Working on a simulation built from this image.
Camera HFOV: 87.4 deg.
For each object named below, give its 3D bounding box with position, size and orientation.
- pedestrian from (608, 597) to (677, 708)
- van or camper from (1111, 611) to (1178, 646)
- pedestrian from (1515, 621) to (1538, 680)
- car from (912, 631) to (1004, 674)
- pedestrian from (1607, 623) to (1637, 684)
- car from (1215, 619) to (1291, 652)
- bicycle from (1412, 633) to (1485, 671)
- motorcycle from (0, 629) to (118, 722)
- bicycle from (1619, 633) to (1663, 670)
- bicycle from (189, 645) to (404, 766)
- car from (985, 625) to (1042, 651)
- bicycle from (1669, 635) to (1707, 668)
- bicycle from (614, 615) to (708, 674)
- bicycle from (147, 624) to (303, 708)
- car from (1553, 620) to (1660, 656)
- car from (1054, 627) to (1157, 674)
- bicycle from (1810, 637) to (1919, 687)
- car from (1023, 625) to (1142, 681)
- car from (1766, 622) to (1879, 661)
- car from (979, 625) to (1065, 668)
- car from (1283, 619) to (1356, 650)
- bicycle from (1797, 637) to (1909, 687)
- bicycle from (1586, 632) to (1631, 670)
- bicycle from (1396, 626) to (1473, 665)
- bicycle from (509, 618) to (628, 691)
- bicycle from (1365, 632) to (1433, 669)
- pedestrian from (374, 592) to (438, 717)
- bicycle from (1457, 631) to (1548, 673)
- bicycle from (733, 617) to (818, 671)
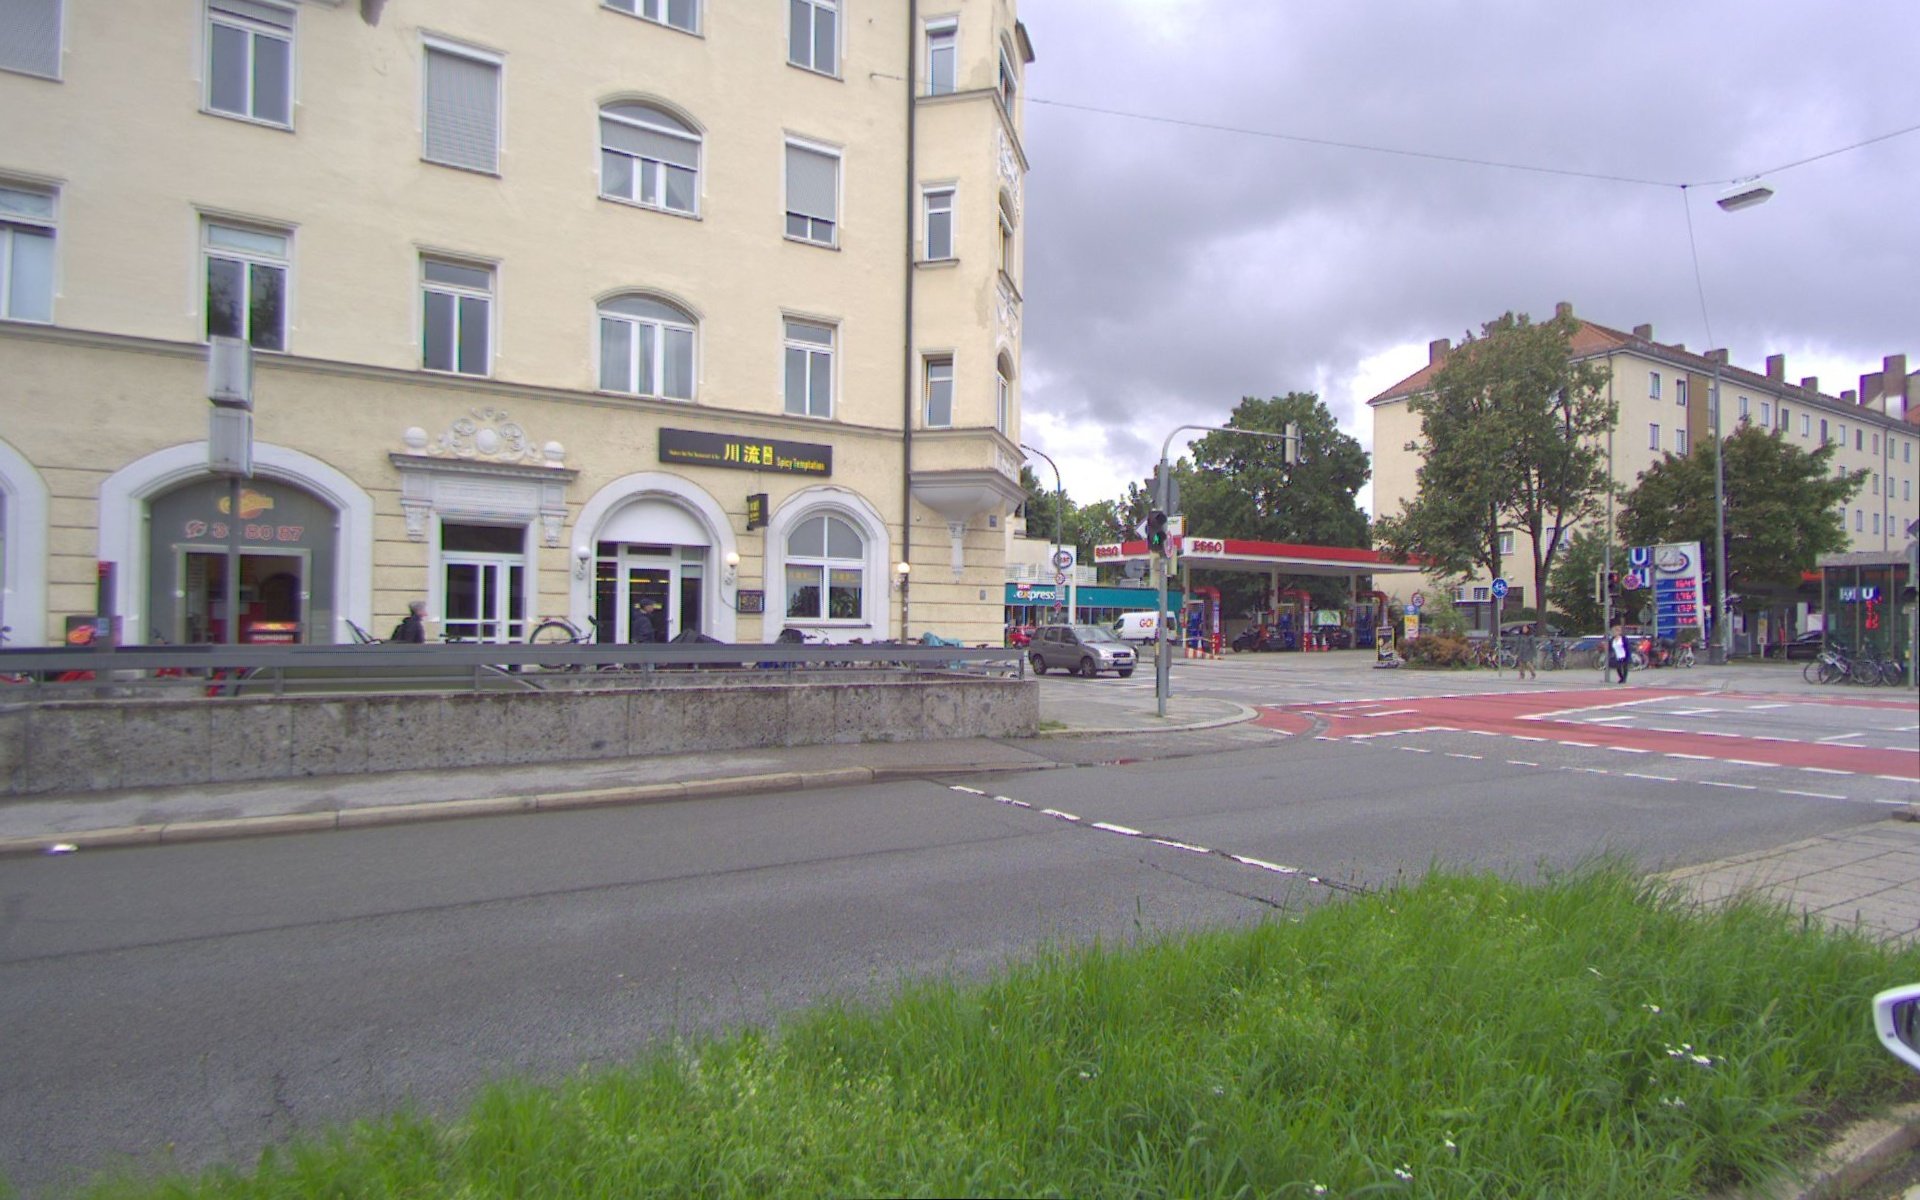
[{"bbox_3d":[-5.081,0.831,16.086,0.934,1.719,0.589,1,-1,-29],"label":"pedestrian"},{"bbox_3d":[12.559,1.927,68.665,1.899,2.354,4.508,1,-1,-34],"label":"van or camper"},{"bbox_3d":[16.733,1.495,29.694,0.581,1.717,0.576,0,-1,29],"label":"pedestrian"},{"bbox_3d":[-0.140,1.884,37.114,1.643,1.430,4.299,1,-1,-27],"label":"car"},{"bbox_3d":[18.816,1.517,28.550,0.571,1.717,0.531,1,-1,-34],"label":"pedestrian"},{"bbox_3d":[16.460,1.960,56.534,1.836,1.808,3.968,1,-1,-30],"label":"car"},{"bbox_3d":[16.916,1.783,34.801,0.760,1.252,2.161,1,-1,-41],"label":"bicycle"},{"bbox_3d":[-12.321,0.975,13.342,1.947,1.137,0.610,1,-1,10],"label":"motorcycle"},{"bbox_3d":[23.449,1.761,34.565,2.167,1.252,0.603,1,-1,-37],"label":"bicycle"},{"bbox_3d":[-6.732,1.033,10.263,1.798,1.130,0.392,1,-1,-39],"label":"bicycle"},{"bbox_3d":[3.440,2.460,65.477,1.848,1.598,3.967,1,-1,-31],"label":"car"},{"bbox_3d":[26.800,1.883,36.965,1.947,1.160,0.603,1,-1,-37],"label":"bicycle"},{"bbox_3d":[-5.261,0.776,17.705,1.527,0.993,0.470,1,-1,-30],"label":"bicycle"},{"bbox_3d":[-9.190,0.810,12.622,1.527,0.993,0.470,1,-1,-30],"label":"bicycle"},{"bbox_3d":[30.809,1.794,47.943,1.800,1.630,3.925,1,-1,-37],"label":"car"},{"bbox_3d":[4.784,1.635,33.427,1.643,1.430,3.534,1,-1,-27],"label":"car"},{"bbox_3d":[25.879,1.756,28.771,0.685,1.322,2.275,1,-1,-28],"label":"bicycle"},{"bbox_3d":[3.619,1.547,30.213,1.646,1.537,3.599,1,-1,-32],"label":"car"},{"bbox_3d":[43.350,2.062,50.541,1.860,1.862,3.965,1,-1,-32],"label":"car"},{"bbox_3d":[2.314,1.735,38.301,1.677,1.534,3.308,1,-1,-32],"label":"car"},{"bbox_3d":[21.718,2.054,60.818,1.836,1.808,3.968,1,-1,-30],"label":"car"},{"bbox_3d":[25.206,1.713,28.398,0.695,1.322,2.262,1,-1,-28],"label":"bicycle"},{"bbox_3d":[22.427,1.749,34.719,2.167,1.252,0.603,1,-1,-37],"label":"bicycle"},{"bbox_3d":[16.973,1.616,36.001,0.785,1.267,2.374,2,0,-40],"label":"bicycle"},{"bbox_3d":[-5.571,0.764,14.315,1.527,0.993,0.470,1,-1,-30],"label":"bicycle"},{"bbox_3d":[15.900,1.819,36.443,0.759,1.252,2.162,1,-1,-39],"label":"bicycle"},{"bbox_3d":[-7.876,0.762,14.283,0.761,1.719,0.540,1,-1,-30],"label":"pedestrian"},{"bbox_3d":[18.456,1.753,34.235,2.664,1.267,0.792,2,0,30],"label":"bicycle"},{"bbox_3d":[-3.508,0.838,19.170,1.527,0.993,0.470,1,-1,-30],"label":"bicycle"}]
